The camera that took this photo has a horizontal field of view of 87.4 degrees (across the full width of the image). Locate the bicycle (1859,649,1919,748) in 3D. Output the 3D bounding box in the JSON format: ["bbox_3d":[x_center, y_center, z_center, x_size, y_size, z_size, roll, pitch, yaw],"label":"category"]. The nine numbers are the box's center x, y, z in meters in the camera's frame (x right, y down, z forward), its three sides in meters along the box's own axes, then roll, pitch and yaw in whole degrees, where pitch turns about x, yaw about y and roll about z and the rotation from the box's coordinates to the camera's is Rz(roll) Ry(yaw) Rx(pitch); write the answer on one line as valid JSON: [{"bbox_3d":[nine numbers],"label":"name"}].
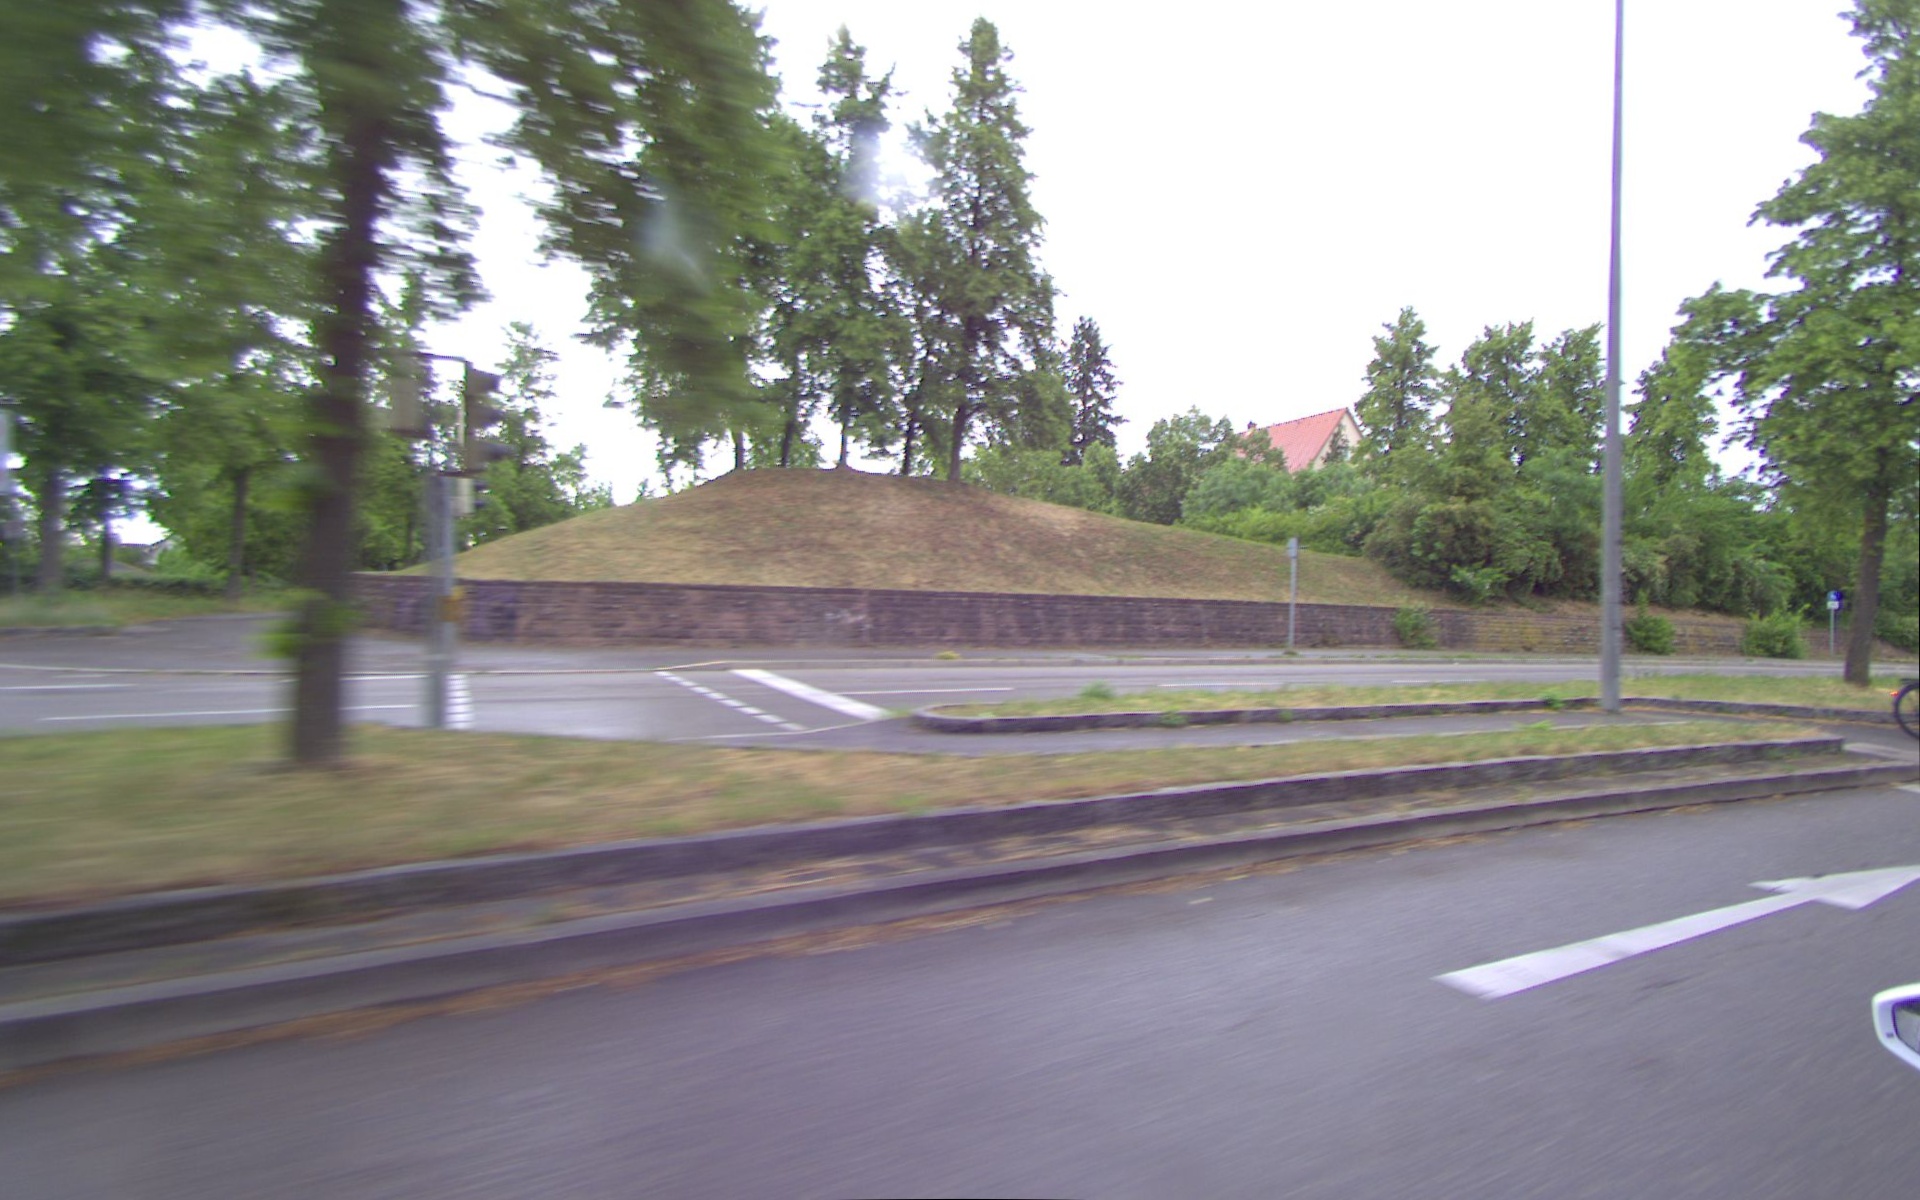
[{"bbox_3d":[12.500,1.246,12.408,2.096,1.158,0.554,2,1,8],"label":"bicycle"}]

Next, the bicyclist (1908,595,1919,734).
[{"bbox_3d":[12.557,0.826,12.514,0.785,1.775,0.726,3,-2,8],"label":"bicyclist"}]

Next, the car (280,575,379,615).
[{"bbox_3d":[-25.056,-0.229,40.067,1.964,1.510,3.930,1,1,-9],"label":"car"}]
